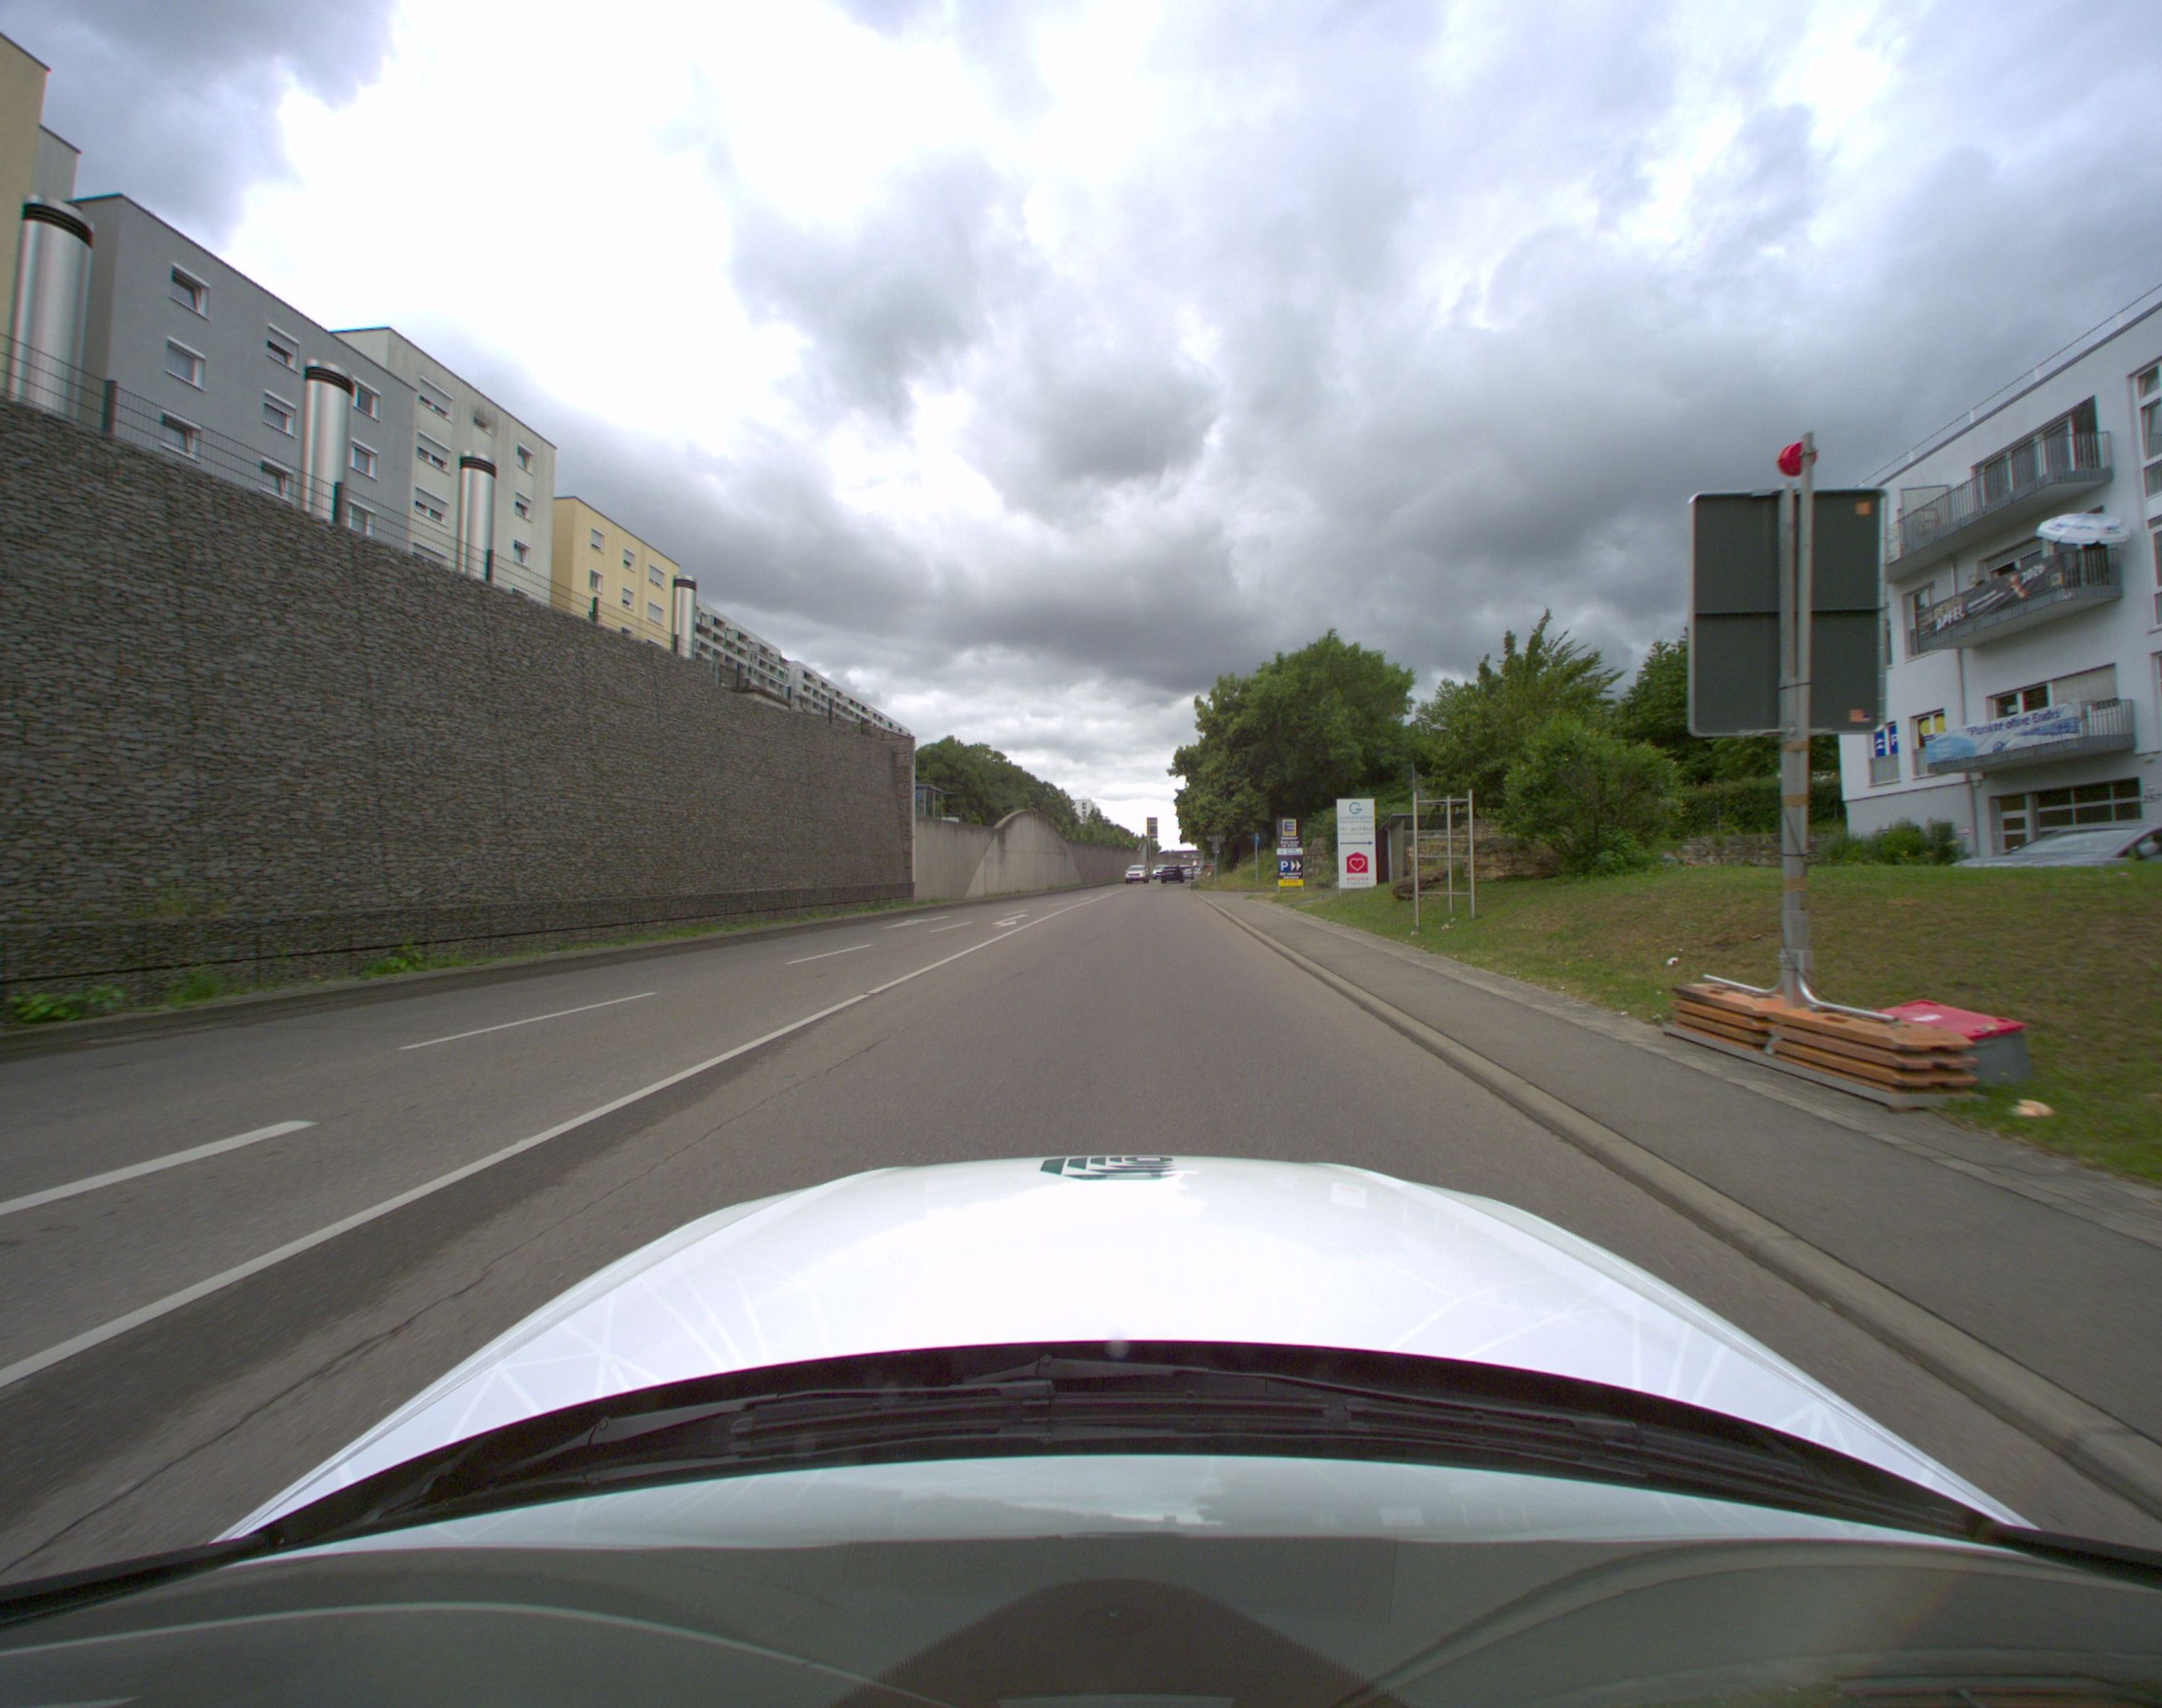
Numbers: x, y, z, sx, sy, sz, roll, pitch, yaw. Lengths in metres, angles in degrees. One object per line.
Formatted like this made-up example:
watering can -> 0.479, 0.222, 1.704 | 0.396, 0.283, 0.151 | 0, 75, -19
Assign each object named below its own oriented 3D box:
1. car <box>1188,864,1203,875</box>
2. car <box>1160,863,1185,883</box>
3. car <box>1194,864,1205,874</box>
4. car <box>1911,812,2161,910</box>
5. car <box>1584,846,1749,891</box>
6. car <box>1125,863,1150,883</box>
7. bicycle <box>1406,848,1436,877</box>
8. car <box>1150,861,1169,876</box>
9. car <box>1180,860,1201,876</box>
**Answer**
car -> 15.463, 2.074, 109.612 | 1.856, 1.490, 4.267 | 1, -1, 9
car -> 7.687, 1.610, 68.288 | 1.743, 1.524, 4.048 | 1, -2, 11
car -> 19.139, 2.428, 131.342 | 1.744, 1.534, 4.264 | 1, -2, 9
car -> 15.666, 0.117, 12.445 | 3.853, 1.353, 1.838 | -1, -3, 6
car -> 19.731, 0.491, 27.627 | 4.212, 1.450, 1.766 | 0, -1, 12
car -> 5.029, 1.685, 72.256 | 1.851, 1.632, 4.217 | -2, -1, 8
bicycle -> 10.455, 0.254, 25.100 | 0.488, 0.875, 1.484 | -1, -1, 8
car -> 9.117, 1.671, 94.164 | 1.879, 1.632, 4.438 | -2, -1, 10
car -> 11.326, 1.505, 84.142 | 1.742, 1.524, 4.050 | 1, -2, 13
